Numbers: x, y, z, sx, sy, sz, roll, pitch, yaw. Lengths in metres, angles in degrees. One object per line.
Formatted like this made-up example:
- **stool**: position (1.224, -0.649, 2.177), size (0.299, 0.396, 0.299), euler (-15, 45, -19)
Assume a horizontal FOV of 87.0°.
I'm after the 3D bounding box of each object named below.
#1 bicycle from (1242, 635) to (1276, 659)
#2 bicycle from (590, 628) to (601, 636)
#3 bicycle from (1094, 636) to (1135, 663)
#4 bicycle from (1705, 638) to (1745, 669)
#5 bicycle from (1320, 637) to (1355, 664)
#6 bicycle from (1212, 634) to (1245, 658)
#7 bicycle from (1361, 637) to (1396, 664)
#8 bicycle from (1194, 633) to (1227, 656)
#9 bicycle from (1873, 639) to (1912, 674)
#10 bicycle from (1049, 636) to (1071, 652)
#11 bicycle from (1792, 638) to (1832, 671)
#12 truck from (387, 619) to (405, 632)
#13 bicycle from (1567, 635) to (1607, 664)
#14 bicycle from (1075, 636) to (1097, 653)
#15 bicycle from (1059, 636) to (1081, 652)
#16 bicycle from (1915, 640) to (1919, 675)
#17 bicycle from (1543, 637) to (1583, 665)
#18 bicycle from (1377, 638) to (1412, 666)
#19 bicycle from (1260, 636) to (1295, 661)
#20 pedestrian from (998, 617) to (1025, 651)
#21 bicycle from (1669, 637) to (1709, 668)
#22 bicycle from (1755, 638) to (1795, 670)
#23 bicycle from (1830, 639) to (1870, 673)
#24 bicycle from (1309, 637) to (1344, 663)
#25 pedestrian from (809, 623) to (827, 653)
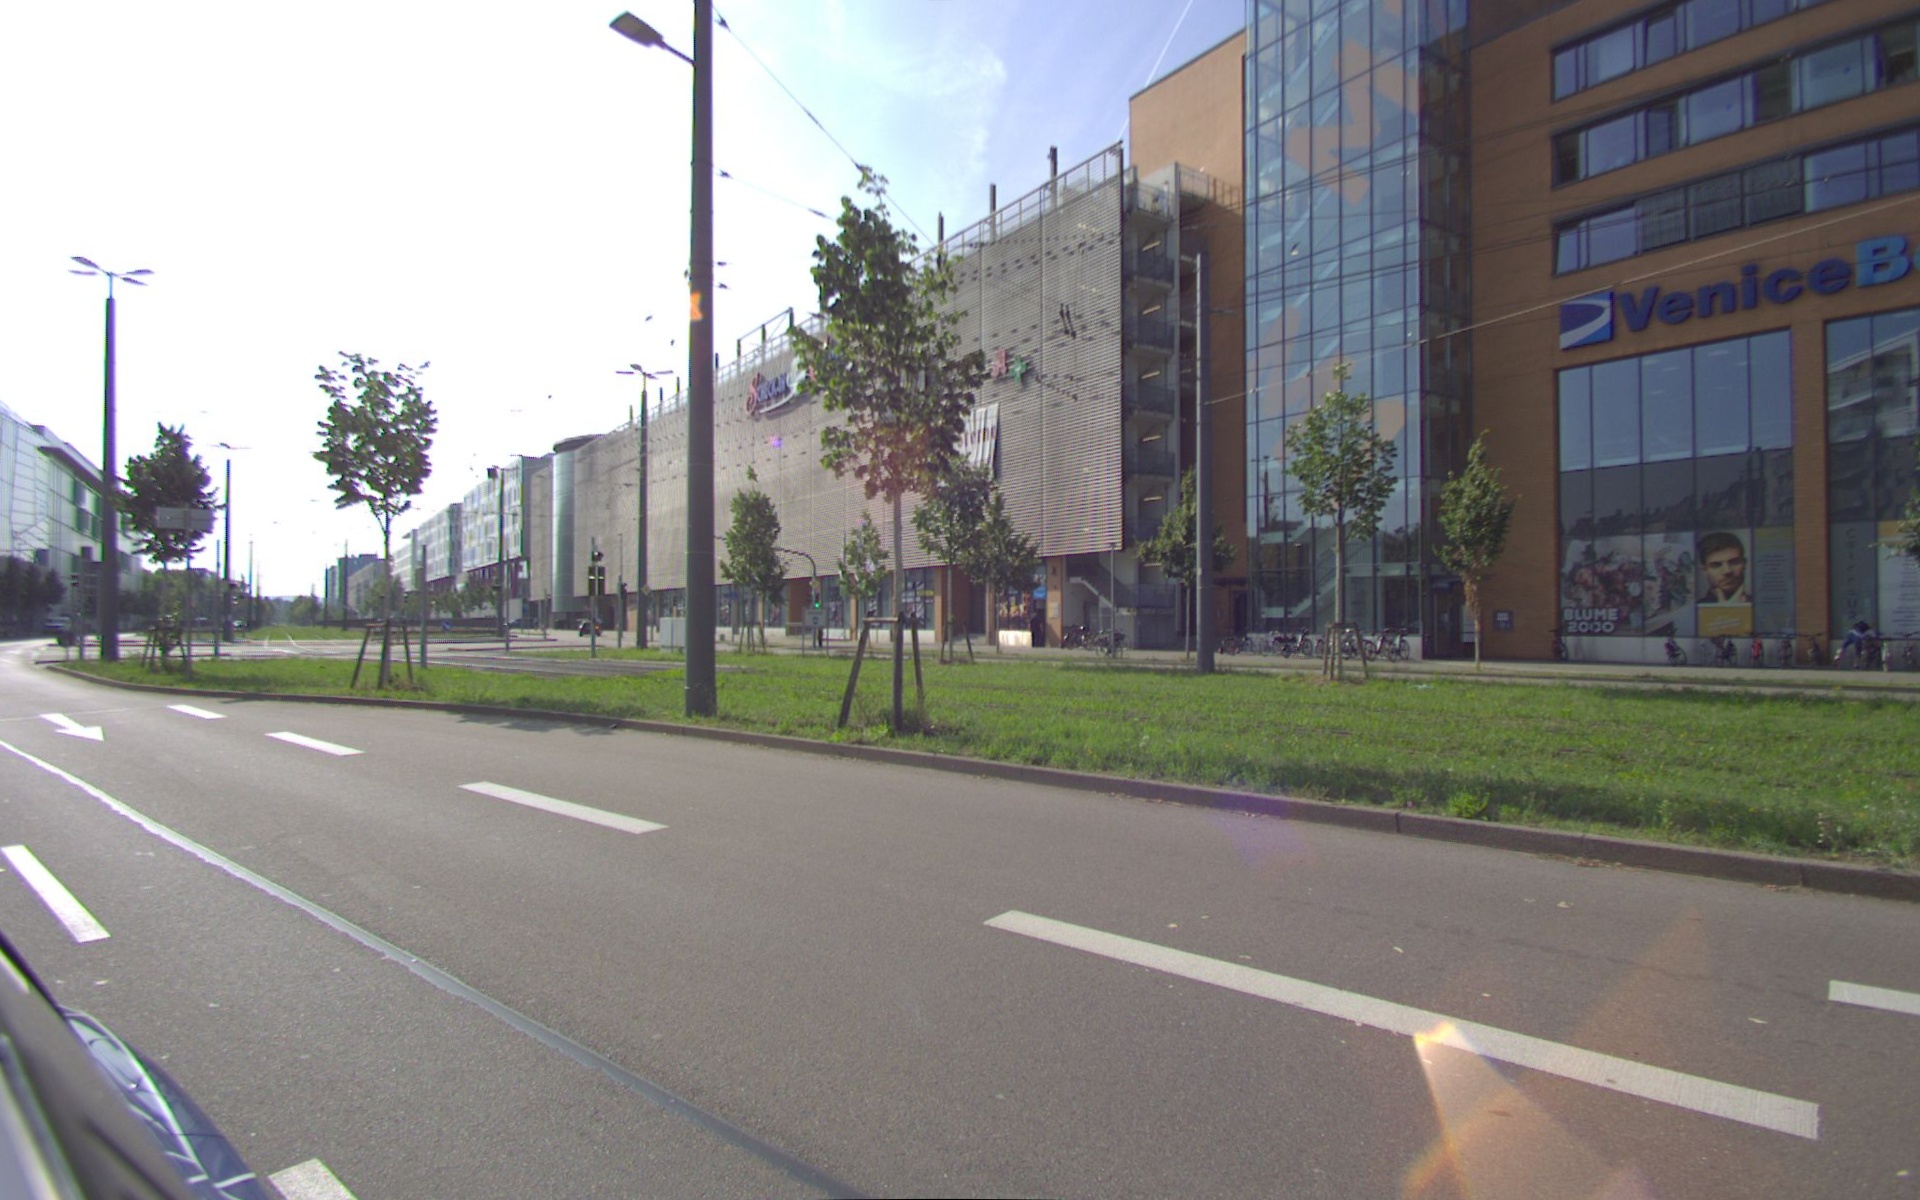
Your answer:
- **bicycle**: position (11.923, 1.868, 40.338), size (1.558, 0.947, 0.412), euler (1, -2, -36)
- **bicycle**: position (-37.970, 3.343, 105.409), size (0.573, 0.785, 1.873), euler (1, -2, -35)
- **bicycle**: position (6.190, 1.969, 40.645), size (0.438, 0.995, 2.171), euler (1, 0, -26)
- **bicycle**: position (23.947, 1.666, 31.667), size (2.022, 0.928, 0.574), euler (1, -2, -40)
- **bicycle**: position (14.011, 1.870, 37.512), size (1.558, 0.947, 0.412), euler (1, -2, -36)
- **bicycle**: position (11.006, 1.897, 41.540), size (1.558, 0.947, 0.412), euler (1, -2, -36)
- **bicycle**: position (15.238, 1.832, 36.831), size (1.558, 0.947, 0.412), euler (1, -2, -36)
- **bicycle**: position (10.434, 1.853, 42.121), size (1.558, 0.947, 0.412), euler (1, -2, -36)
- **bicycle**: position (26.487, 1.586, 28.737), size (2.022, 0.928, 0.574), euler (1, -2, -40)
- **bicycle**: position (4.856, 2.120, 49.146), size (0.989, 0.758, 0.453), euler (1, -2, -34)
- **bicycle**: position (25.343, 1.603, 30.078), size (2.022, 0.928, 0.574), euler (1, -2, -40)
- **truck**: position (-105.144, 4.771, 188.528), size (2.172, 2.339, 4.559), euler (1, -2, -40)
- **bicycle**: position (21.466, 1.676, 34.632), size (2.022, 0.928, 0.574), euler (1, -2, -40)
- **bicycle**: position (5.926, 2.085, 47.505), size (1.007, 0.758, 0.362), euler (1, -2, -34)
- **bicycle**: position (5.262, 2.102, 48.498), size (0.989, 0.758, 0.453), euler (1, -2, -34)
- **bicycle**: position (27.102, 1.591, 28.130), size (2.022, 0.928, 0.574), euler (1, -2, -40)
- **bicycle**: position (20.970, 1.750, 35.176), size (2.022, 0.928, 0.574), euler (1, -2, -40)
- **bicycle**: position (15.407, 1.830, 35.872), size (1.558, 0.947, 0.412), euler (1, -2, -38)
- **bicycle**: position (12.221, 1.853, 38.945), size (1.558, 0.947, 0.474), euler (1, -2, -36)
- **pedestrian**: position (2.627, 1.737, 51.707), size (0.806, 1.732, 1.179), euler (1, -2, -35)
- **bicycle**: position (23.289, 1.677, 32.317), size (2.022, 0.928, 0.574), euler (1, -2, -40)
- **bicycle**: position (24.734, 1.623, 30.704), size (2.022, 0.928, 0.574), euler (1, -2, -40)
- **bicycle**: position (25.891, 1.604, 29.438), size (2.022, 0.928, 0.574), euler (1, -2, -40)
- **bicycle**: position (13.905, 1.884, 38.374), size (1.558, 0.947, 0.412), euler (1, -2, -36)
- **pedestrian**: position (-7.776, 2.075, 55.477), size (0.751, 1.591, 0.591), euler (1, -2, -39)
